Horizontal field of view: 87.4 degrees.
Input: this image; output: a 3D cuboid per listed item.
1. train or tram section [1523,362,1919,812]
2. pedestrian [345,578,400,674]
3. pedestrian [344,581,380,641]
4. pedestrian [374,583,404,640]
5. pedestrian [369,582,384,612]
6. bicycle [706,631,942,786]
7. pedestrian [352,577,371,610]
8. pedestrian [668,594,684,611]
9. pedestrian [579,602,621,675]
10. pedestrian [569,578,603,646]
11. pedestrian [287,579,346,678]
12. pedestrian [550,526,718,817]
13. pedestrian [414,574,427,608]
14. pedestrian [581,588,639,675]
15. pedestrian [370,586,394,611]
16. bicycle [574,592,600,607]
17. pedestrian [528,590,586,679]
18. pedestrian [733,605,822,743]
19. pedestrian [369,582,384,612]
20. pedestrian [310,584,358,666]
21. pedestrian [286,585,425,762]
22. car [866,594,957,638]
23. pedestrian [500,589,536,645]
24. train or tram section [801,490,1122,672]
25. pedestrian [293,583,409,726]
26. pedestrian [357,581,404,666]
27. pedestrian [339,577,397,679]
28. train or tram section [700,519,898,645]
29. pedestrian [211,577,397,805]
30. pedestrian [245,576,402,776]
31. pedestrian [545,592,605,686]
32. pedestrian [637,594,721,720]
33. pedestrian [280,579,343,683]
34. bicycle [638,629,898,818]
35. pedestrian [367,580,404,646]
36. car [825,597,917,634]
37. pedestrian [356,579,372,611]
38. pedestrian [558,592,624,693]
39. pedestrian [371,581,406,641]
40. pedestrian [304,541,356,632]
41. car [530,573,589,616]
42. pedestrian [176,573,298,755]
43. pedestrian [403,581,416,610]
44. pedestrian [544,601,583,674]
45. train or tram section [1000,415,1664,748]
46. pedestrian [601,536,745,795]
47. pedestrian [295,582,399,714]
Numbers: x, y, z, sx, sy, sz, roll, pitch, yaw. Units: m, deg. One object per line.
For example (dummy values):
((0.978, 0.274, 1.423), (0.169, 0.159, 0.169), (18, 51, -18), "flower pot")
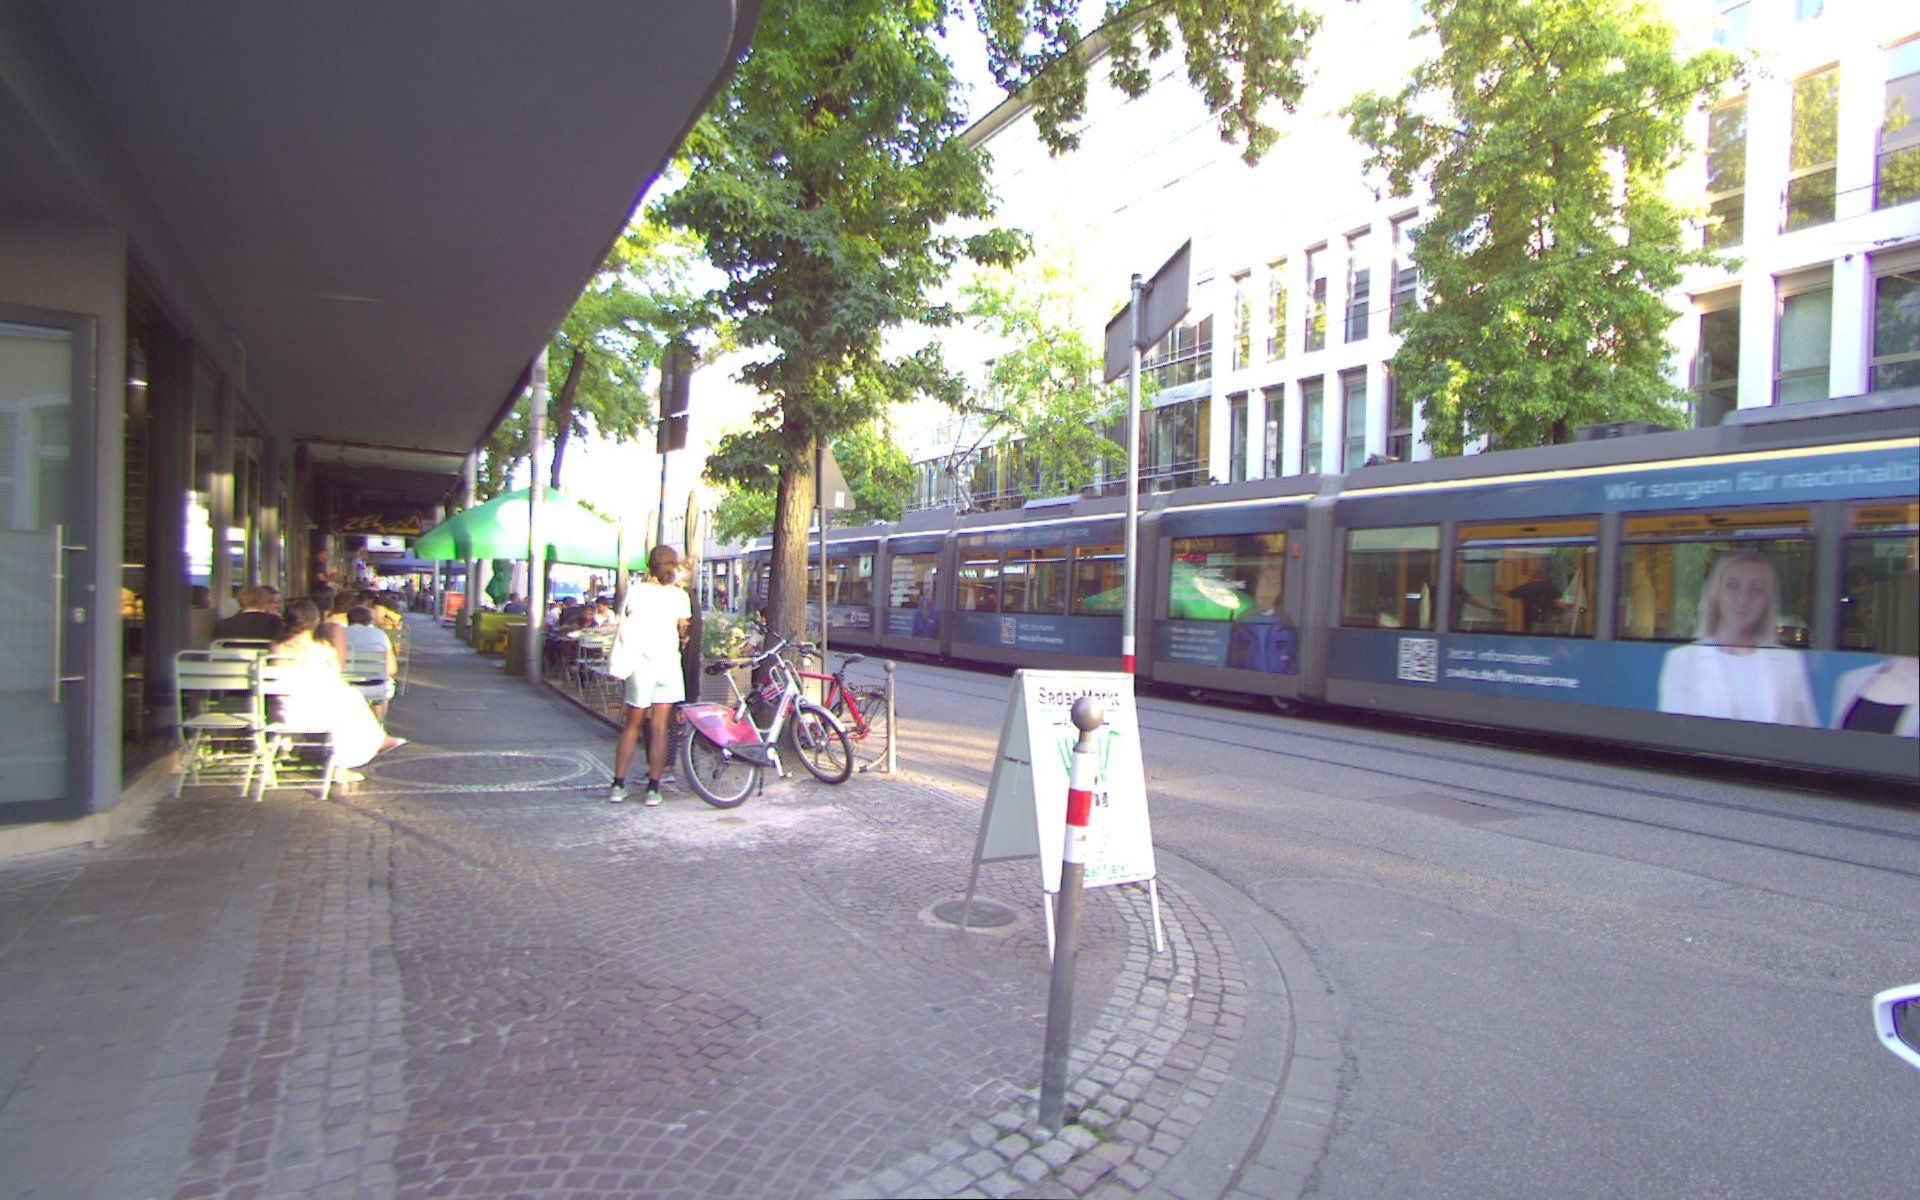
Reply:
((9.882, -0.058, 7.012), (2.991, 3.570, 10.286), (2, 0, -30), "train or tram section")
((-8.791, 0.388, 15.055), (0.649, 1.396, 0.759), (2, -1, -30), "pedestrian")
((-14.213, 0.269, 23.892), (0.684, 1.396, 0.759), (2, -1, -30), "pedestrian")
((-14.372, 0.299, 25.275), (0.600, 1.396, 0.643), (2, -1, -30), "pedestrian")
((-25.777, -0.122, 44.369), (0.507, 1.258, 0.655), (5, -2, -30), "pedestrian")
((-1.108, 0.863, 8.383), (1.847, 1.154, 0.621), (2, -1, -34), "bicycle")
((-27.097, -0.282, 45.452), (0.604, 1.452, 0.508), (5, -2, -28), "pedestrian")
((-23.430, 0.181, 82.905), (1.102, 1.346, 0.919), (-1, 1, -30), "pedestrian")
((-6.379, 0.676, 17.790), (0.580, 1.252, 0.540), (2, -1, -29), "pedestrian")
((-7.896, 0.262, 21.198), (0.543, 1.396, 0.560), (2, -1, -30), "pedestrian")
((-9.382, 0.414, 14.668), (0.649, 1.396, 0.759), (2, -1, -30), "pedestrian")
((-2.123, 0.440, 6.583), (0.630, 1.764, 0.780), (1, -1, 29), "pedestrian")
((-27.652, -0.462, 51.447), (0.505, 1.683, 0.607), (3, -1, -28), "pedestrian")
((-5.803, 0.514, 16.634), (0.709, 1.380, 1.004), (2, -1, -28), "pedestrian")
((-27.572, -0.053, 47.916), (0.812, 1.135, 0.774), (5, -2, -21), "pedestrian")
((-37.642, -0.039, 101.355), (2.312, 1.491, 0.783), (2, -1, -35), "bicycle")
((-6.508, 0.553, 16.199), (0.709, 1.380, 1.004), (2, -1, -28), "pedestrian")
((-1.942, 0.761, 10.656), (0.687, 1.395, 0.787), (2, -1, -29), "pedestrian")
((-26.217, -0.131, 45.138), (0.518, 1.272, 0.582), (5, -2, -30), "pedestrian")
((-10.934, 0.430, 17.562), (0.649, 1.396, 0.759), (2, -1, -30), "pedestrian")
((-4.900, 0.576, 8.212), (0.877, 1.337, 0.875), (2, -1, -27), "pedestrian")
((-1.943, 0.616, 41.350), (1.842, 1.584, 4.338), (0, 2, 27), "car")
((-10.431, 0.401, 23.702), (0.702, 1.281, 0.595), (2, -1, -30), "pedestrian")
((-0.582, -0.373, 25.114), (2.978, 3.570, 10.756), (2, 0, -30), "train or tram section")
((-6.010, 0.524, 9.970), (0.877, 1.337, 0.875), (2, -1, -27), "pedestrian")
((-9.905, 0.402, 17.182), (0.649, 1.396, 0.759), (2, -1, -30), "pedestrian")
((-8.382, 0.390, 14.230), (0.649, 1.396, 0.759), (2, -1, -30), "pedestrian")
((-5.869, -0.532, 34.299), (3.019, 3.570, 10.445), (3, -1, -30), "train or tram section")
((-4.192, 0.551, 6.504), (0.877, 1.337, 0.875), (2, -1, -27), "pedestrian")
((-4.593, 0.527, 7.321), (0.839, 1.337, 0.876), (2, -1, -27), "pedestrian")
((-5.884, 0.589, 15.324), (0.709, 1.380, 0.917), (2, -1, -29), "pedestrian")
((-3.263, 0.638, 11.637), (0.709, 1.380, 0.917), (2, -1, -29), "pedestrian")
((-8.978, 0.429, 13.921), (0.649, 1.396, 0.759), (2, -1, -30), "pedestrian")
((-1.307, 0.803, 7.240), (0.767, 1.154, 1.863), (1, -1, 31), "bicycle")
((-12.574, 0.285, 21.990), (0.649, 1.396, 0.759), (2, -1, -30), "pedestrian")
((-3.972, 0.667, 45.474), (1.834, 1.477, 4.169), (0, 2, 36), "car")
((-27.421, -0.227, 46.190), (0.438, 1.391, 0.603), (5, -2, -21), "pedestrian")
((-5.281, 0.588, 14.344), (0.709, 1.380, 1.004), (2, -1, -28), "pedestrian")
((-13.053, 0.254, 22.932), (0.649, 1.348, 0.759), (2, -1, -30), "pedestrian")
((-12.668, -0.259, 20.205), (0.754, 1.789, 0.653), (1, -1, 41), "pedestrian")
((-20.195, -0.292, 50.559), (1.977, 2.003, 4.808), (2, 0, -31), "car")
((-5.650, 0.484, 7.894), (0.616, 1.337, 0.836), (2, -1, -27), "pedestrian")
((-27.688, -0.224, 50.510), (0.505, 1.452, 0.607), (3, -1, -28), "pedestrian")
((-6.910, 0.653, 17.493), (0.538, 1.235, 0.507), (2, -1, -29), "pedestrian")
((4.701, -0.194, 15.976), (2.982, 3.570, 10.317), (2, -1, -30), "train or tram section")
((-2.069, 0.452, 7.316), (0.629, 1.764, 0.782), (1, -1, 17), "pedestrian")
((-6.561, 0.505, 10.799), (0.839, 1.337, 0.876), (2, -1, -27), "pedestrian")
